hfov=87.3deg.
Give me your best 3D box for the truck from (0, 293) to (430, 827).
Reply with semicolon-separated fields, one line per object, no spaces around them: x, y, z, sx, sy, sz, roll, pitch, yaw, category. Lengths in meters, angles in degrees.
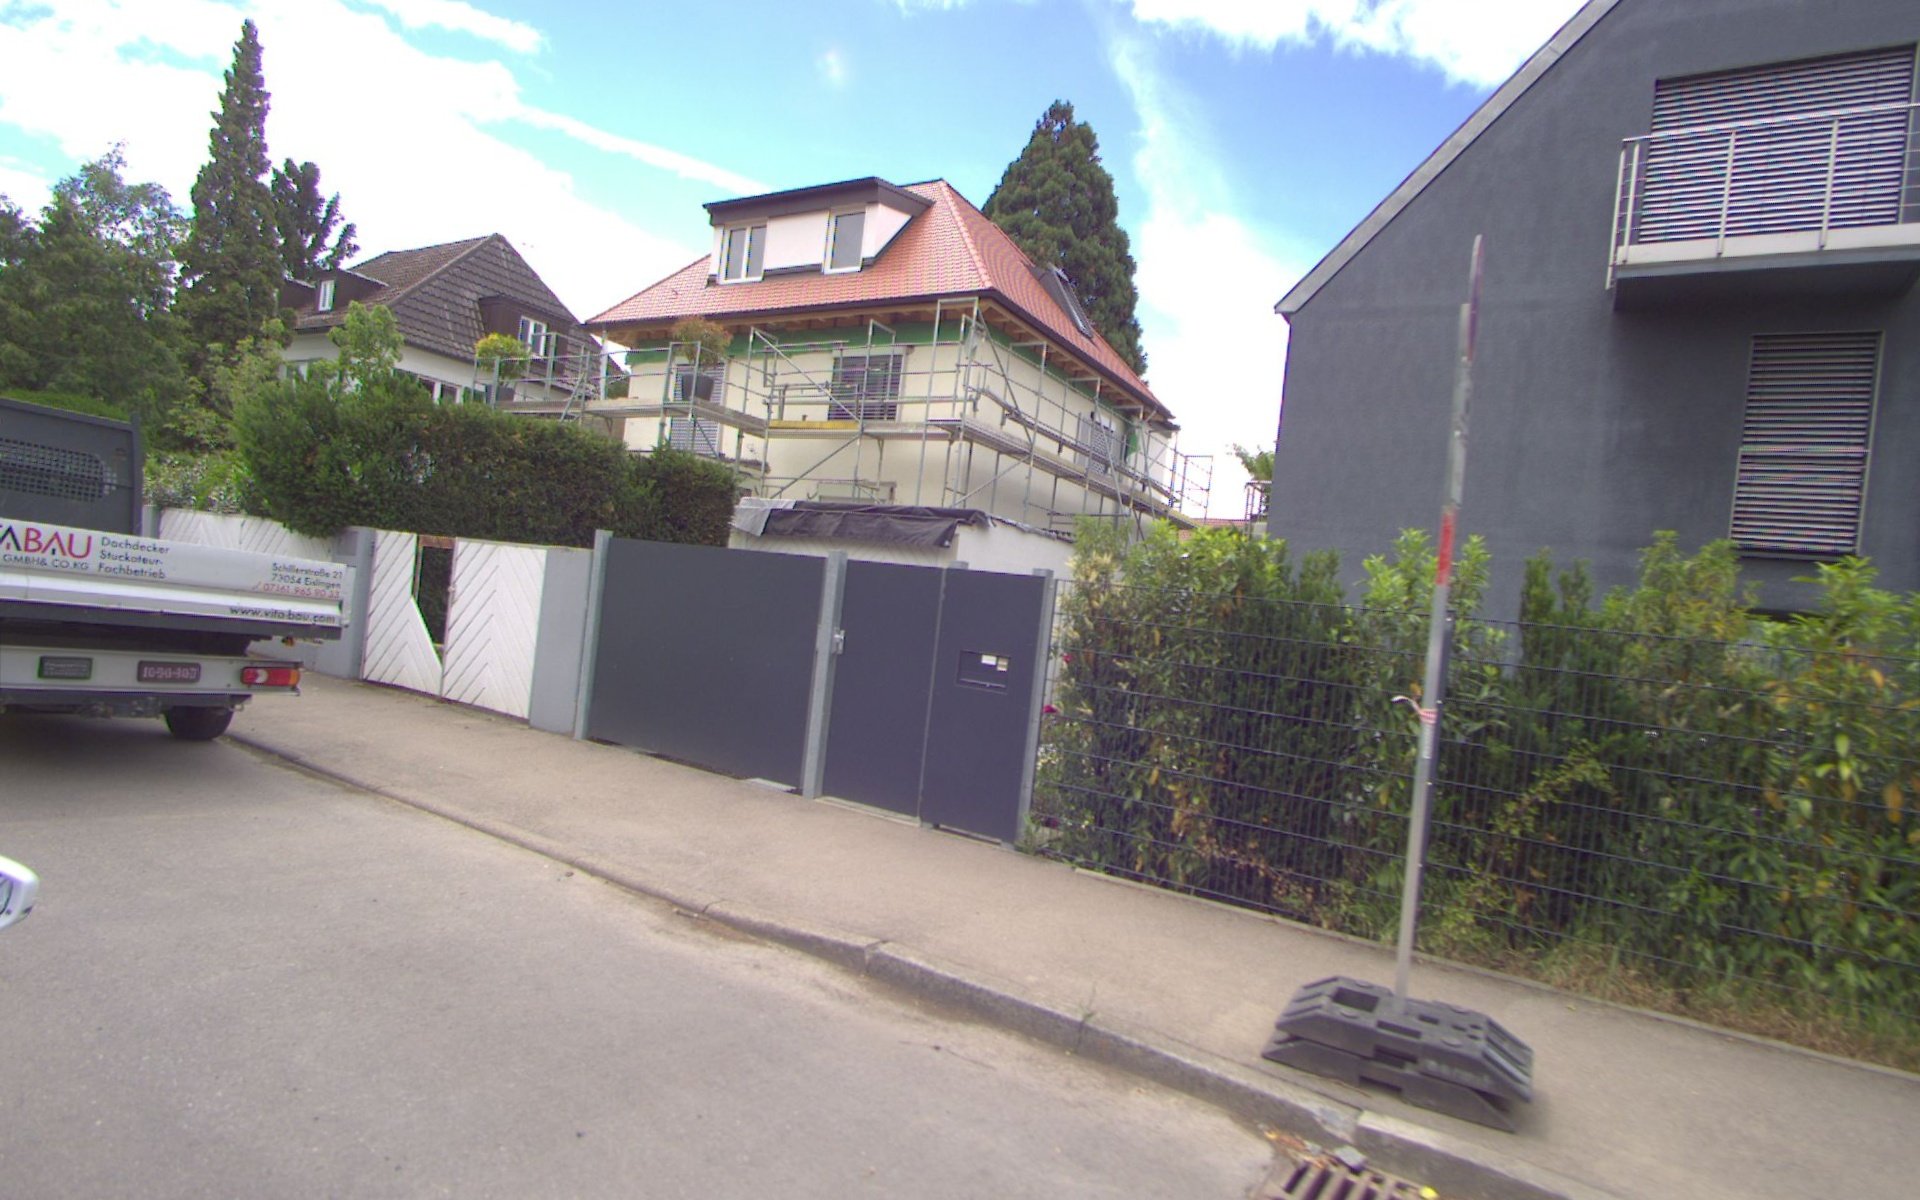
-7.171;-0.418;7.389;7.307;2.501;2.191;6;-1;32;truck
